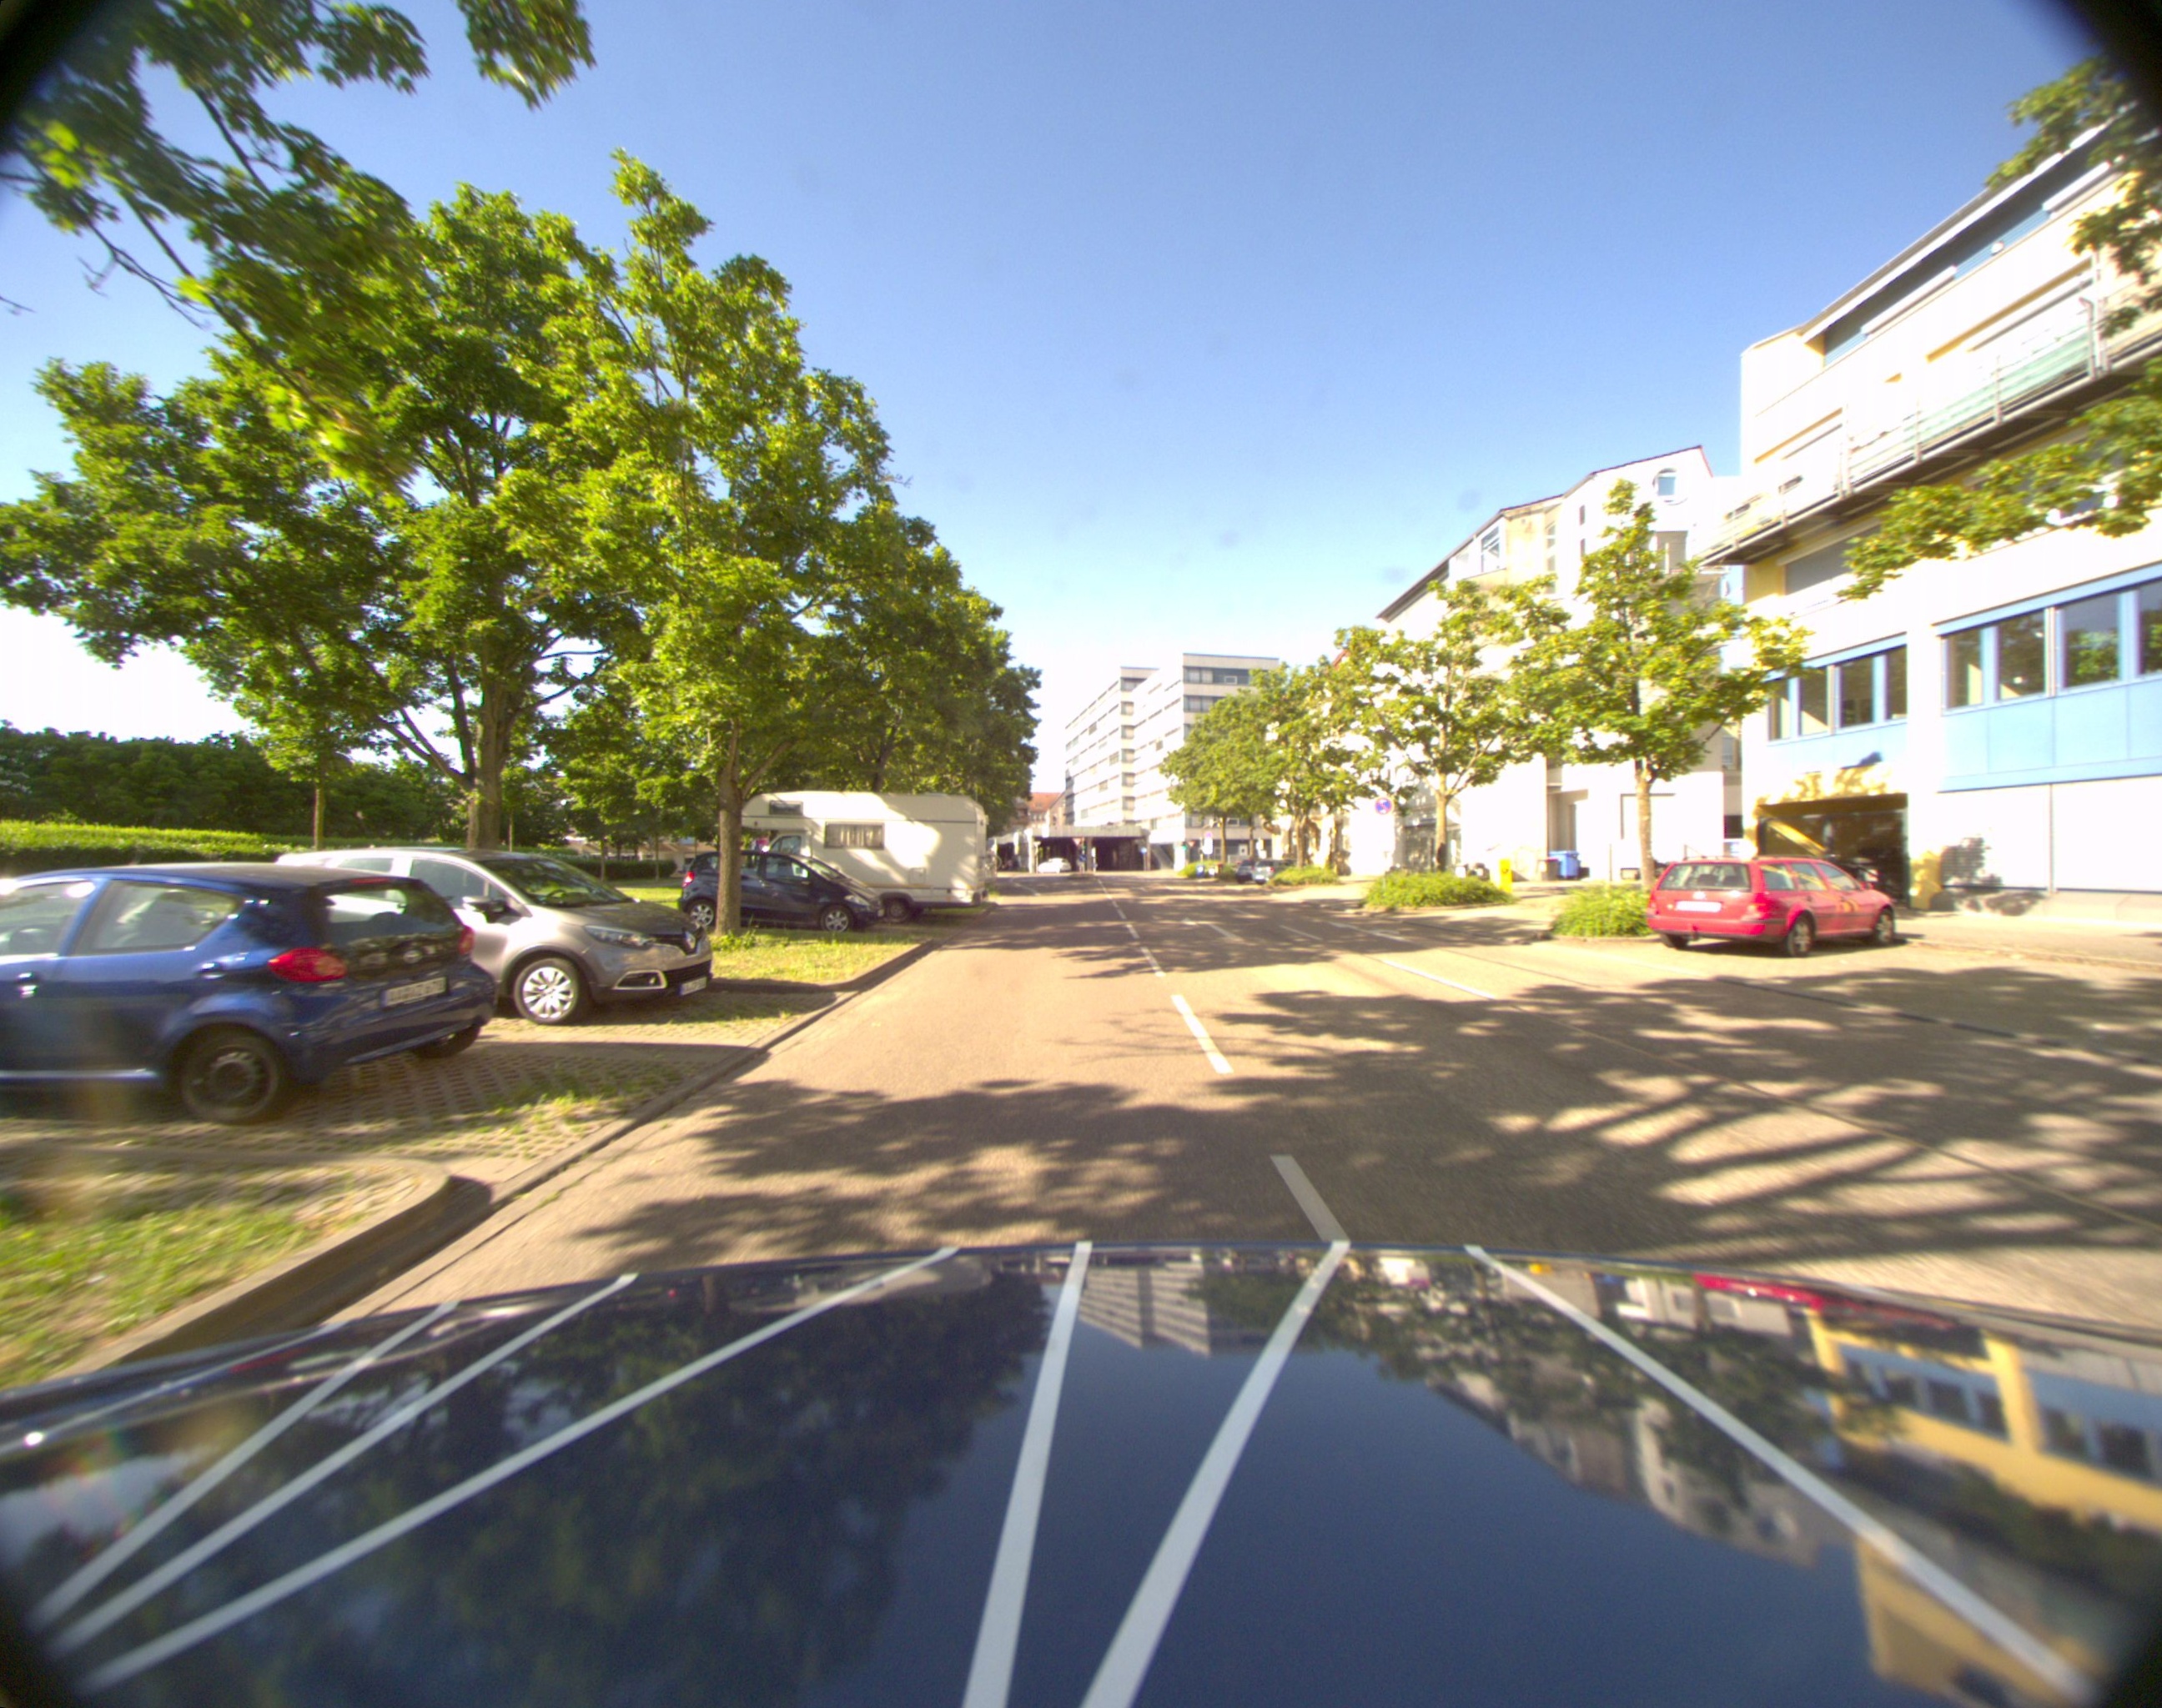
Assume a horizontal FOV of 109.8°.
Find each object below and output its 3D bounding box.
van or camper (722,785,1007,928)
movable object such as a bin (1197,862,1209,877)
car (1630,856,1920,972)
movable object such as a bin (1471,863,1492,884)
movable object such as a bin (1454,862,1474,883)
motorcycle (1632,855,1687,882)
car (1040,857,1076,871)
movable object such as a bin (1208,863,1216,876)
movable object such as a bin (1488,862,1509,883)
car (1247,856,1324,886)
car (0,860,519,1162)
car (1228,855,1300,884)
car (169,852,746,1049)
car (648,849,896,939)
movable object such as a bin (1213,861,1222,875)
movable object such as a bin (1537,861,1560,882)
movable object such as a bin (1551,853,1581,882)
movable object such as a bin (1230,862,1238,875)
[{"bbox_3d":[-4.958,0.064,18.290,5.997,2.966,2.670,2,0,-1],"label":"van or camper"},{"bbox_3d":[9.046,1.131,56.355,0.674,1.067,0.804,0,0,25],"label":"movable object such as a bin"},{"bbox_3d":[10.874,0.829,11.894,4.240,1.467,1.767,-1,0,-24],"label":"car"},{"bbox_3d":[18.191,0.886,34.500,0.622,0.922,0.575,0,0,-4],"label":"movable object such as a bin"},{"bbox_3d":[17.391,0.841,34.497,0.622,0.922,0.575,0,0,-4],"label":"movable object such as a bin"},{"bbox_3d":[24.549,0.602,32.255,1.917,1.127,0.527,0,0,-1],"label":"motorcycle"},{"bbox_3d":[-2.579,1.082,84.736,3.745,1.443,1.934,0,0,39],"label":"car"},{"bbox_3d":[9.652,1.145,56.007,0.476,0.954,0.543,-2,1,25],"label":"movable object such as a bin"},{"bbox_3d":[18.975,0.833,34.538,0.622,0.967,0.575,0,0,-4],"label":"movable object such as a bin"},{"bbox_3d":[11.173,0.891,41.474,4.006,1.455,1.806,-2,1,-34],"label":"car"},{"bbox_3d":[-6.121,0.855,4.933,3.472,1.470,1.858,2,0,-3],"label":"car"},{"bbox_3d":[10.717,0.884,44.420,4.006,1.455,1.806,-2,1,-34],"label":"car"},{"bbox_3d":[-5.887,0.844,7.582,4.204,1.537,1.859,2,0,1],"label":"car"},{"bbox_3d":[-6.046,0.766,15.276,4.160,1.537,1.859,2,0,-2],"label":"car"},{"bbox_3d":[10.204,1.062,56.775,0.476,1.034,0.543,-2,1,25],"label":"movable object such as a bin"},{"bbox_3d":[21.163,0.782,34.416,0.622,0.967,0.690,0,0,-4],"label":"movable object such as a bin"},{"bbox_3d":[21.993,0.595,34.481,0.622,1.272,1.120,0,0,-4],"label":"movable object such as a bin"},{"bbox_3d":[11.568,1.074,57.267,0.476,0.938,0.543,0,1,25],"label":"movable object such as a bin"}]
